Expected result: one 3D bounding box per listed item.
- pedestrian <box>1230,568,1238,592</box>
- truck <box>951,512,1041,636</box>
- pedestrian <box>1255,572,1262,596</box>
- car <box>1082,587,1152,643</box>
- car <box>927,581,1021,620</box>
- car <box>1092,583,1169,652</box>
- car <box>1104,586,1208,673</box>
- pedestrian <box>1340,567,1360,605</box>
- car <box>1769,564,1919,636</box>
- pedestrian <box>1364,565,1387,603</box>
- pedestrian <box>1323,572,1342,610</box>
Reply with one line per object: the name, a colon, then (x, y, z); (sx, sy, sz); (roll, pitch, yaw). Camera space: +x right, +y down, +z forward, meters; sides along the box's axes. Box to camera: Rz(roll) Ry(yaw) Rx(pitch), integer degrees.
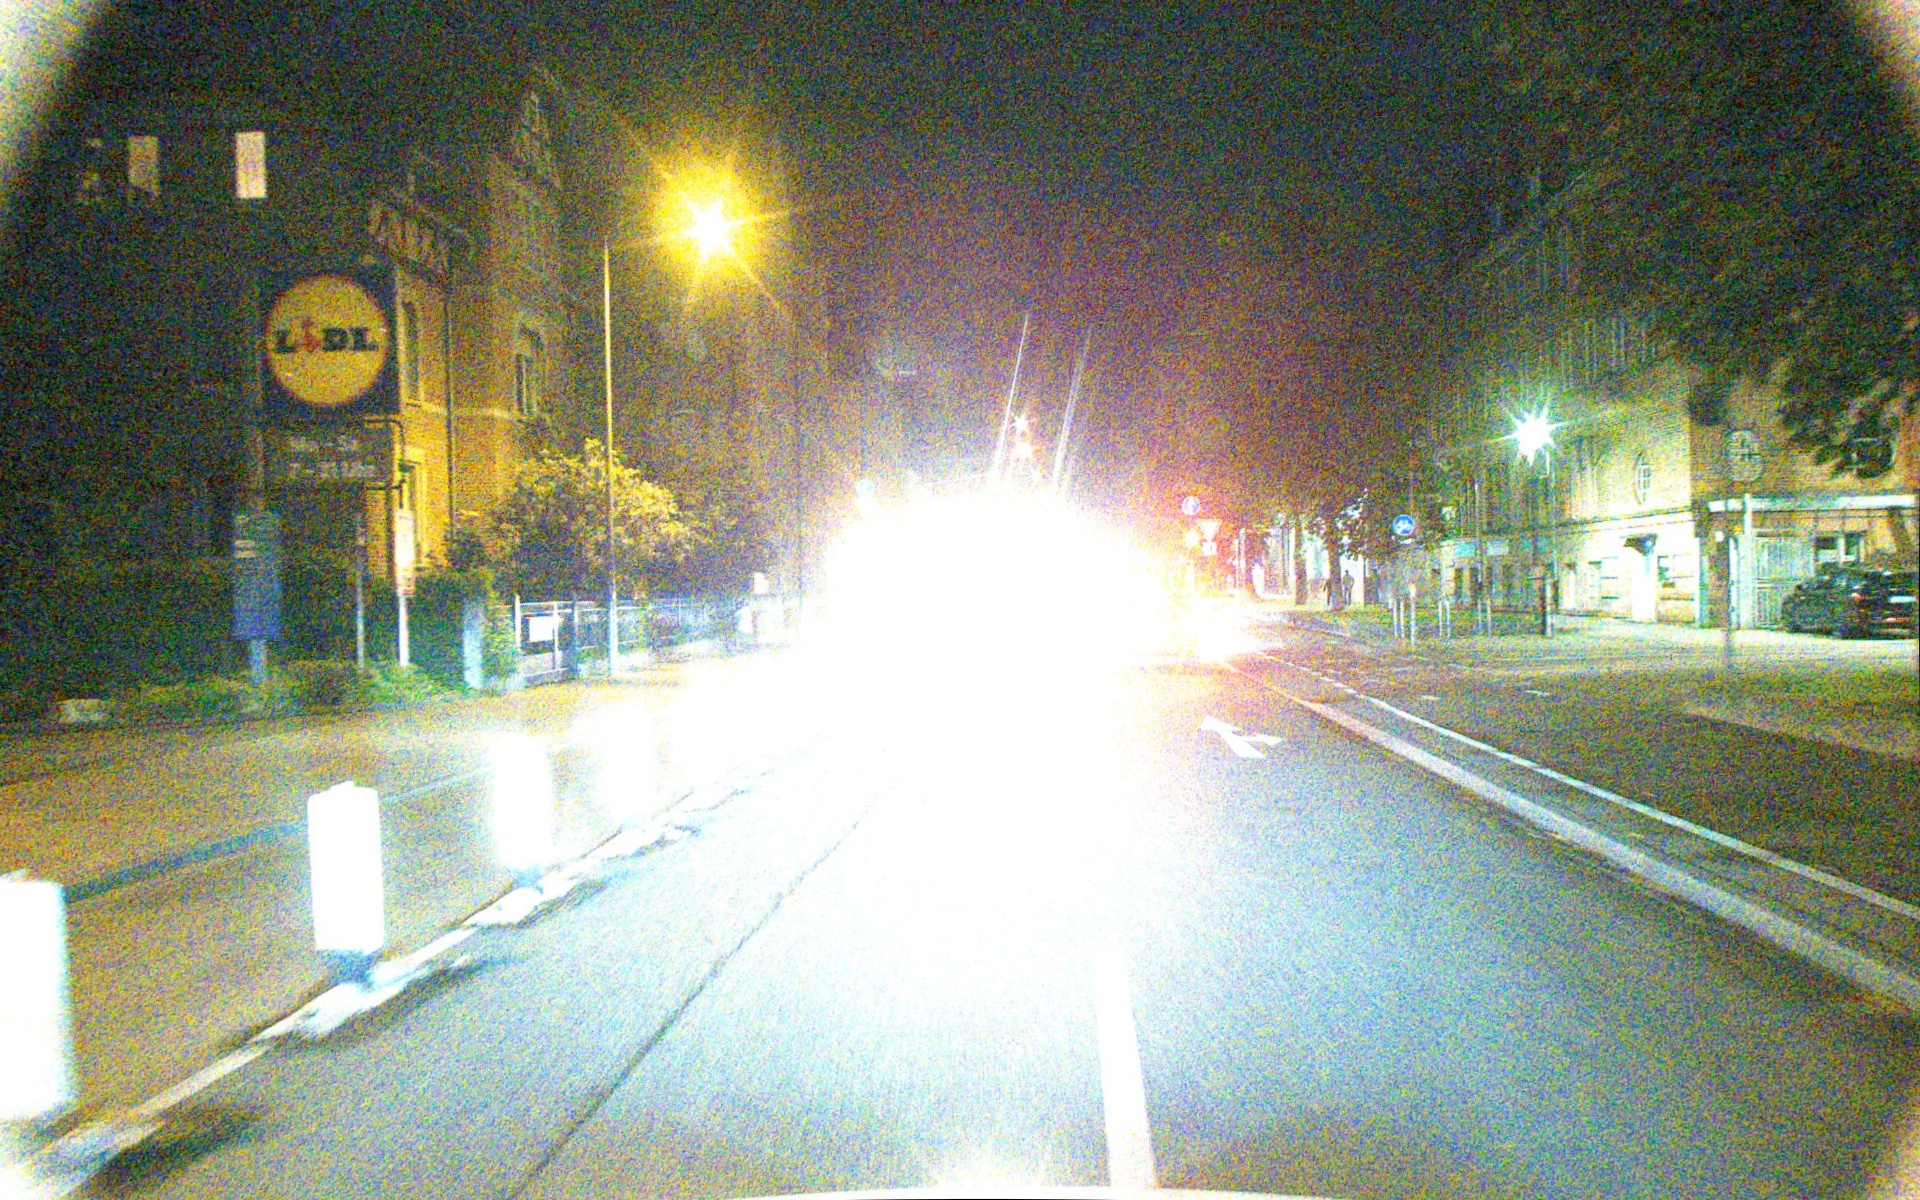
pedestrian: (23.170, -1.682, 139.695); (0.520, 2.049, 0.670); (-2, 0, 3)
truck: (1.293, -0.865, 57.634); (2.698, 3.782, 10.115); (-3, 0, 2)
pedestrian: (25.147, -1.361, 139.332); (0.477, 2.049, 0.551); (-2, 0, 3)
car: (4.213, 0.370, 44.940); (1.693, 1.460, 4.212); (0, 1, 2)
car: (0.654, 0.028, 75.479); (3.962, 1.668, 1.971); (-2, 0, -40)
car: (3.881, 0.361, 38.079); (1.603, 1.520, 4.002); (0, 1, 3)
car: (3.681, 0.504, 31.702); (1.767, 1.520, 4.732); (0, 0, 4)
pedestrian: (18.912, -0.684, 80.151); (0.723, 1.799, 0.907); (-2, 0, 4)
car: (19.191, -0.019, 35.658); (1.481, 1.419, 4.484); (-2, 0, 3)
pedestrian: (20.228, -0.783, 80.473); (0.882, 1.799, 0.907); (-2, 0, 3)
pedestrian: (18.094, -0.421, 80.435); (0.699, 1.799, 0.907); (-2, 0, 4)
